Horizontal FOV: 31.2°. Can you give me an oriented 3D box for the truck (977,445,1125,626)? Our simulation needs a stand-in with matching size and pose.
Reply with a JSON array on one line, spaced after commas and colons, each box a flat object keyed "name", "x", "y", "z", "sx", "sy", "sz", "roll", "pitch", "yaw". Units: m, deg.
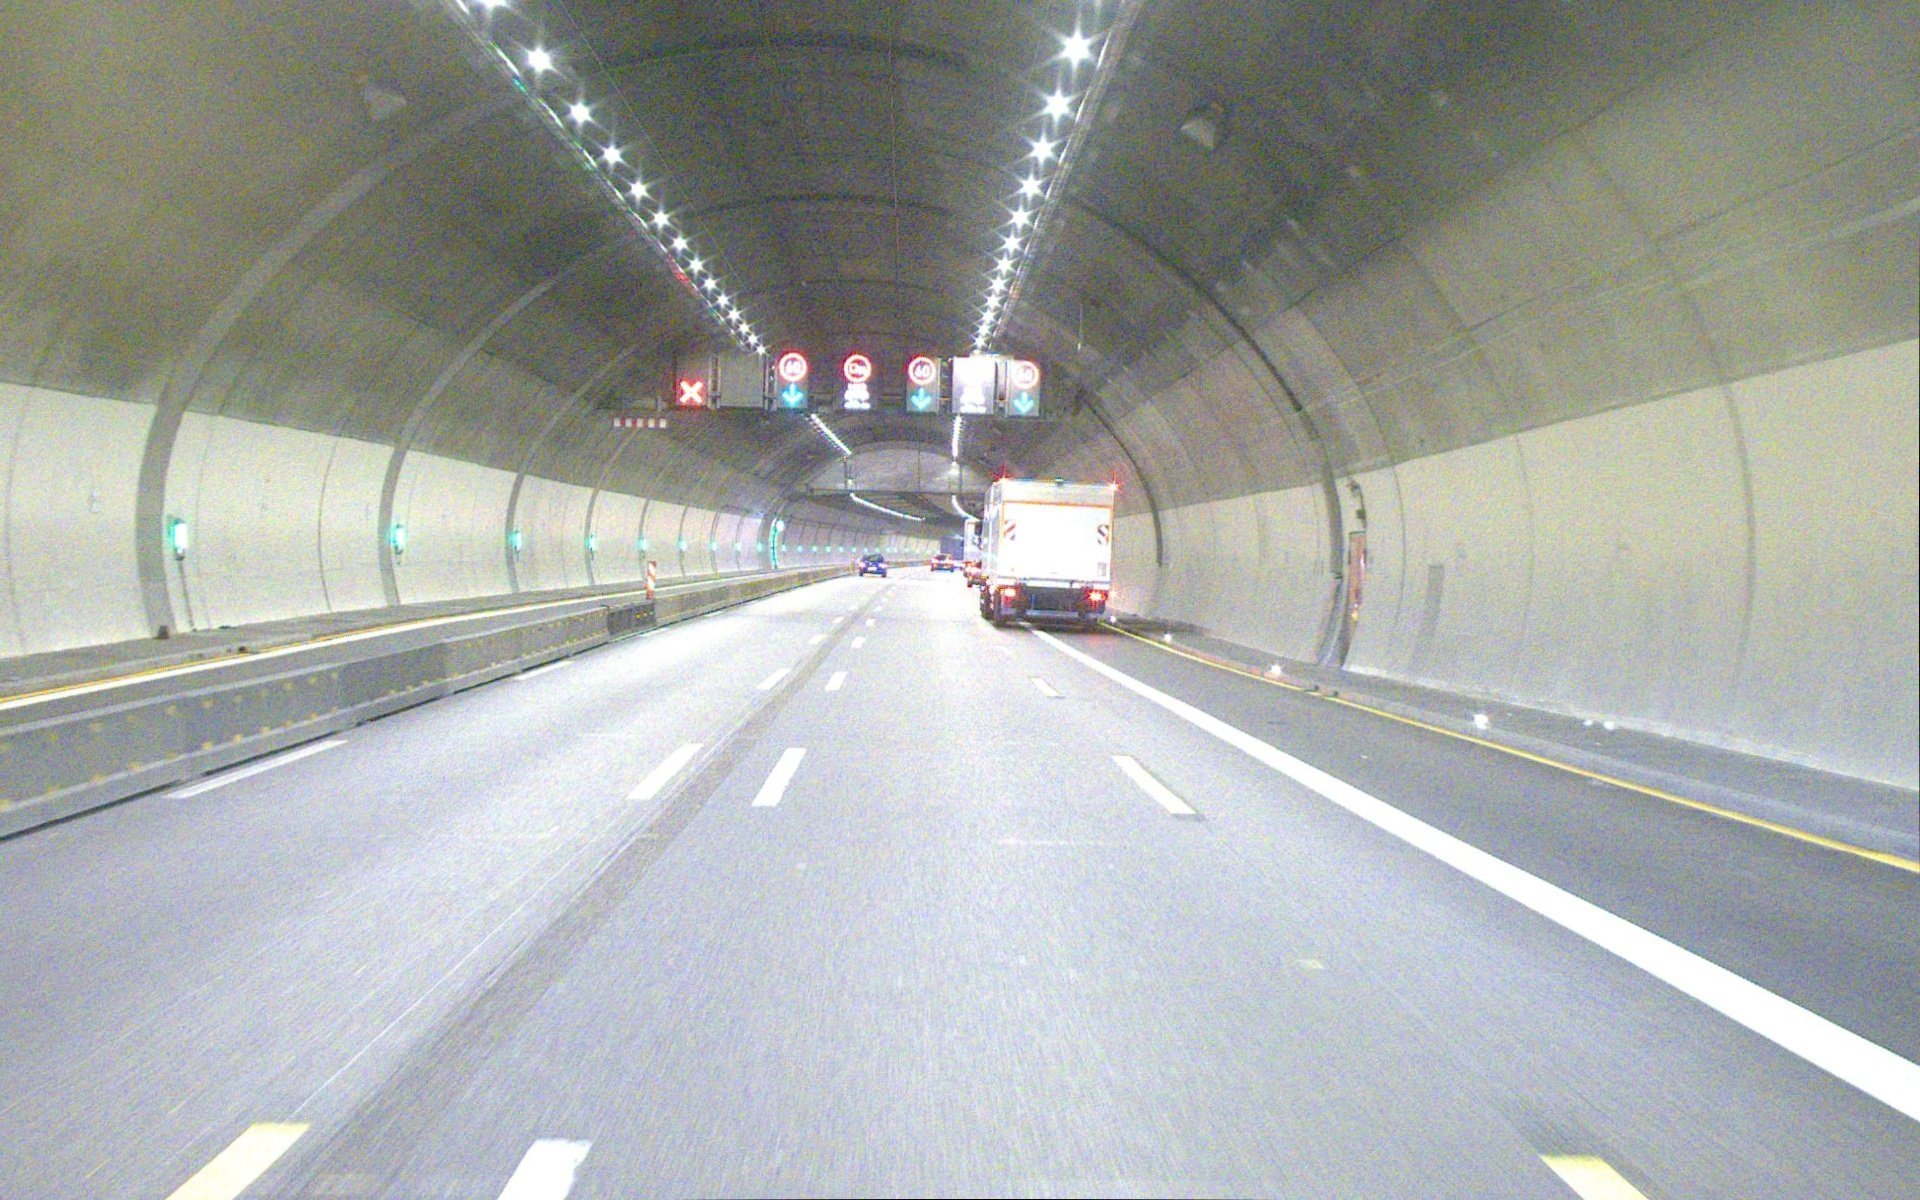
[{"name": "truck", "x": 2.040, "y": -1.444, "z": 81.248, "sx": 3.092, "sy": 3.904, "sz": 10.368, "roll": 2, "pitch": 0, "yaw": 0}]

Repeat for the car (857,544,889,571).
[{"name": "car", "x": -5.171, "y": -2.524, "z": 203.666, "sx": 1.758, "sy": 1.456, "sz": 4.119, "roll": 1, "pitch": 1, "yaw": 0}]

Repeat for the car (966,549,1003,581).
[{"name": "car", "x": 1.209, "y": -1.732, "z": 170.225, "sx": 1.739, "sy": 1.456, "sz": 3.960, "roll": 1, "pitch": 1, "yaw": 1}]

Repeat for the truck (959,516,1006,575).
[{"name": "truck", "x": 1.602, "y": -3.778, "z": 239.739, "sx": 3.066, "sy": 3.904, "sz": 10.367, "roll": 2, "pitch": 0, "yaw": 1}]
